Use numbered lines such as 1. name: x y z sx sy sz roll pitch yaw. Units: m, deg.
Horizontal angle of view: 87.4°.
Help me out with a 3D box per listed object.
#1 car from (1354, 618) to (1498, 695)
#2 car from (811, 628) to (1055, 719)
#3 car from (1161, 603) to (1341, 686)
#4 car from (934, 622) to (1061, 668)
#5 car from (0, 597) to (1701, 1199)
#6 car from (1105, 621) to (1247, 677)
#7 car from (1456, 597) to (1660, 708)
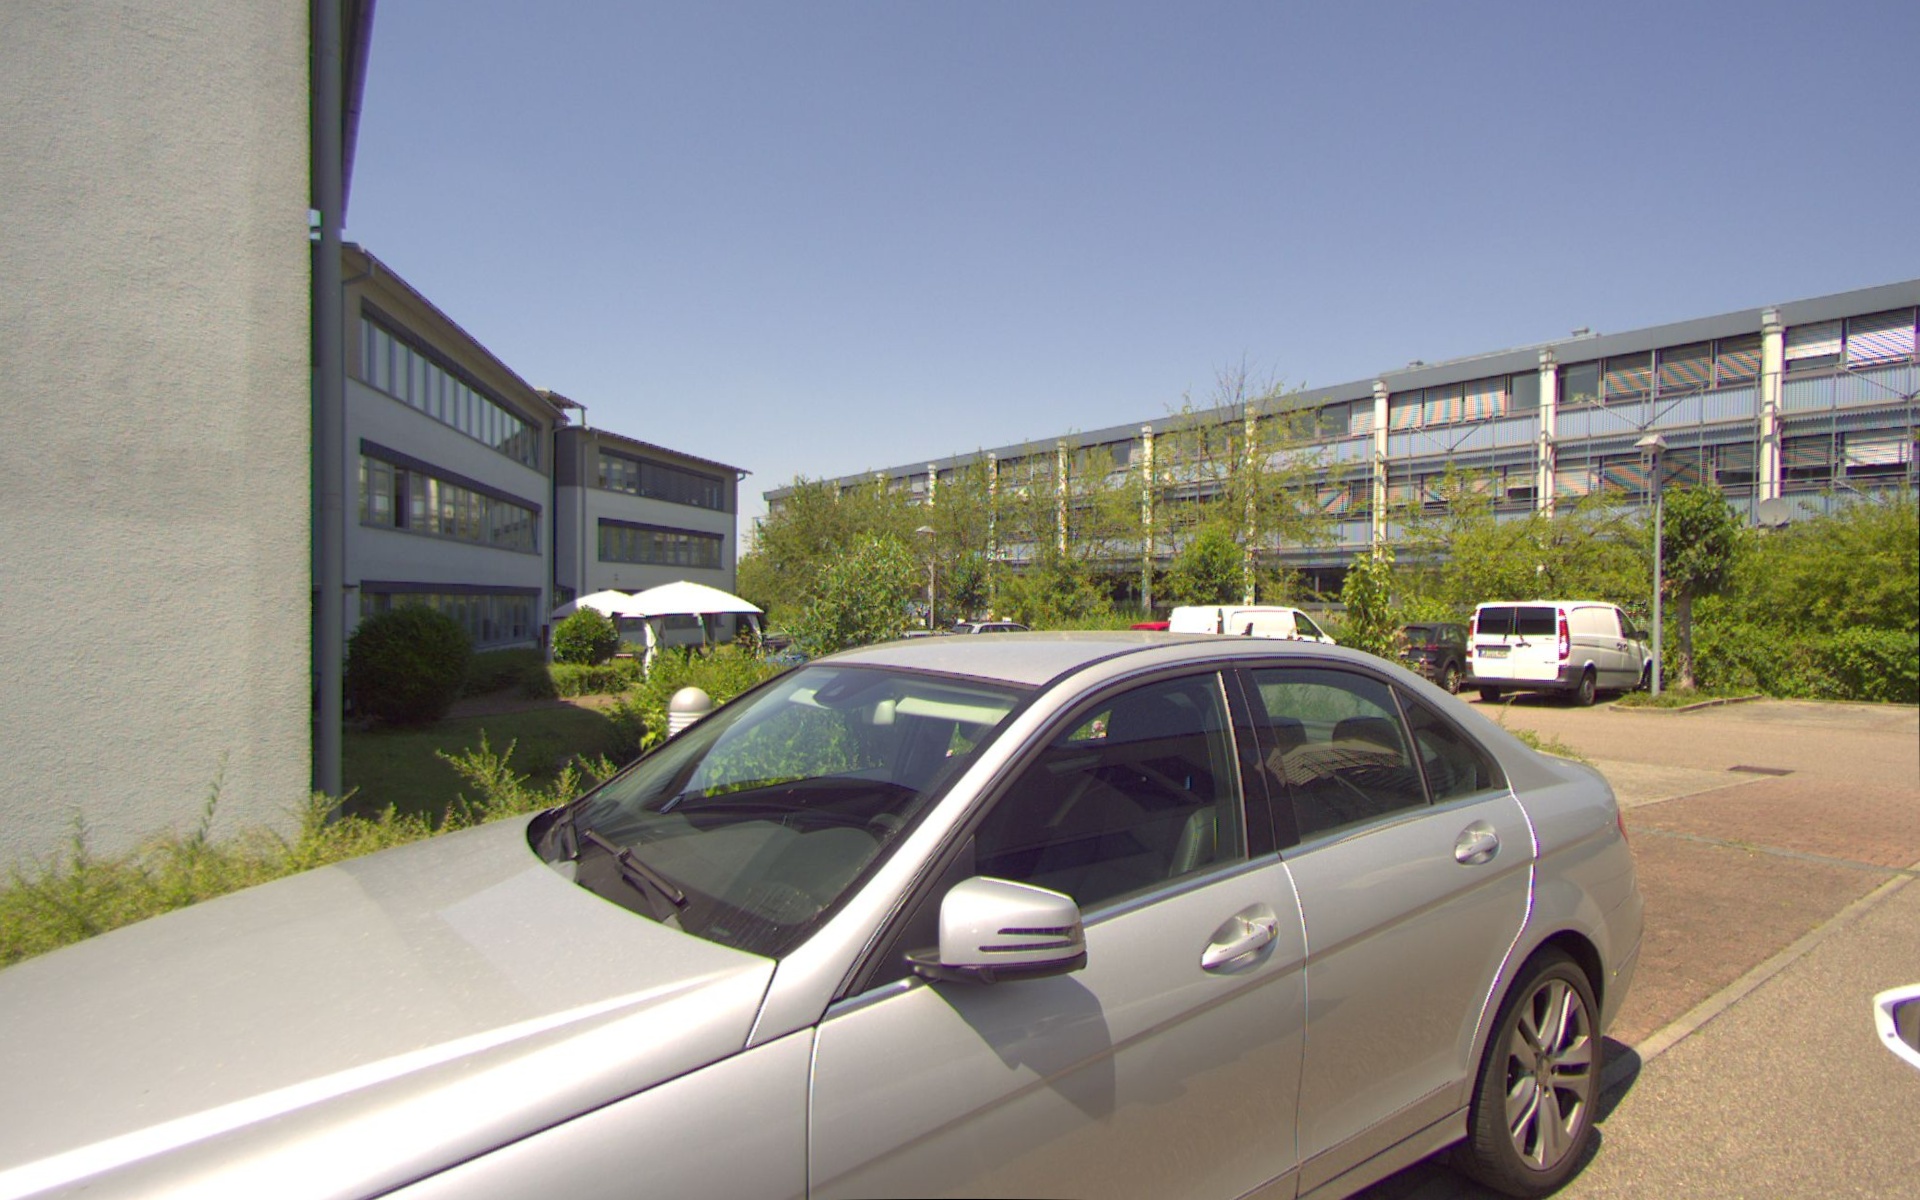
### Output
1. car: 10.358 1.181 22.175 1.735 1.496 3.977 -1 -1 43
2. car: -0.432 1.298 19.034 4.444 1.492 1.843 1 -1 -38
3. car: 7.376 1.041 25.273 4.757 1.916 1.868 0 0 -36
4. car: 1.320 1.497 34.504 4.128 1.425 1.855 0 -1 -35
5. car: 0.100 0.785 2.604 4.106 1.476 1.718 1 -2 -35
6. car: 6.164 1.336 28.557 3.960 1.460 1.770 1 -1 -35
7. car: 11.772 0.928 19.648 4.766 1.930 1.898 0 -1 -39
